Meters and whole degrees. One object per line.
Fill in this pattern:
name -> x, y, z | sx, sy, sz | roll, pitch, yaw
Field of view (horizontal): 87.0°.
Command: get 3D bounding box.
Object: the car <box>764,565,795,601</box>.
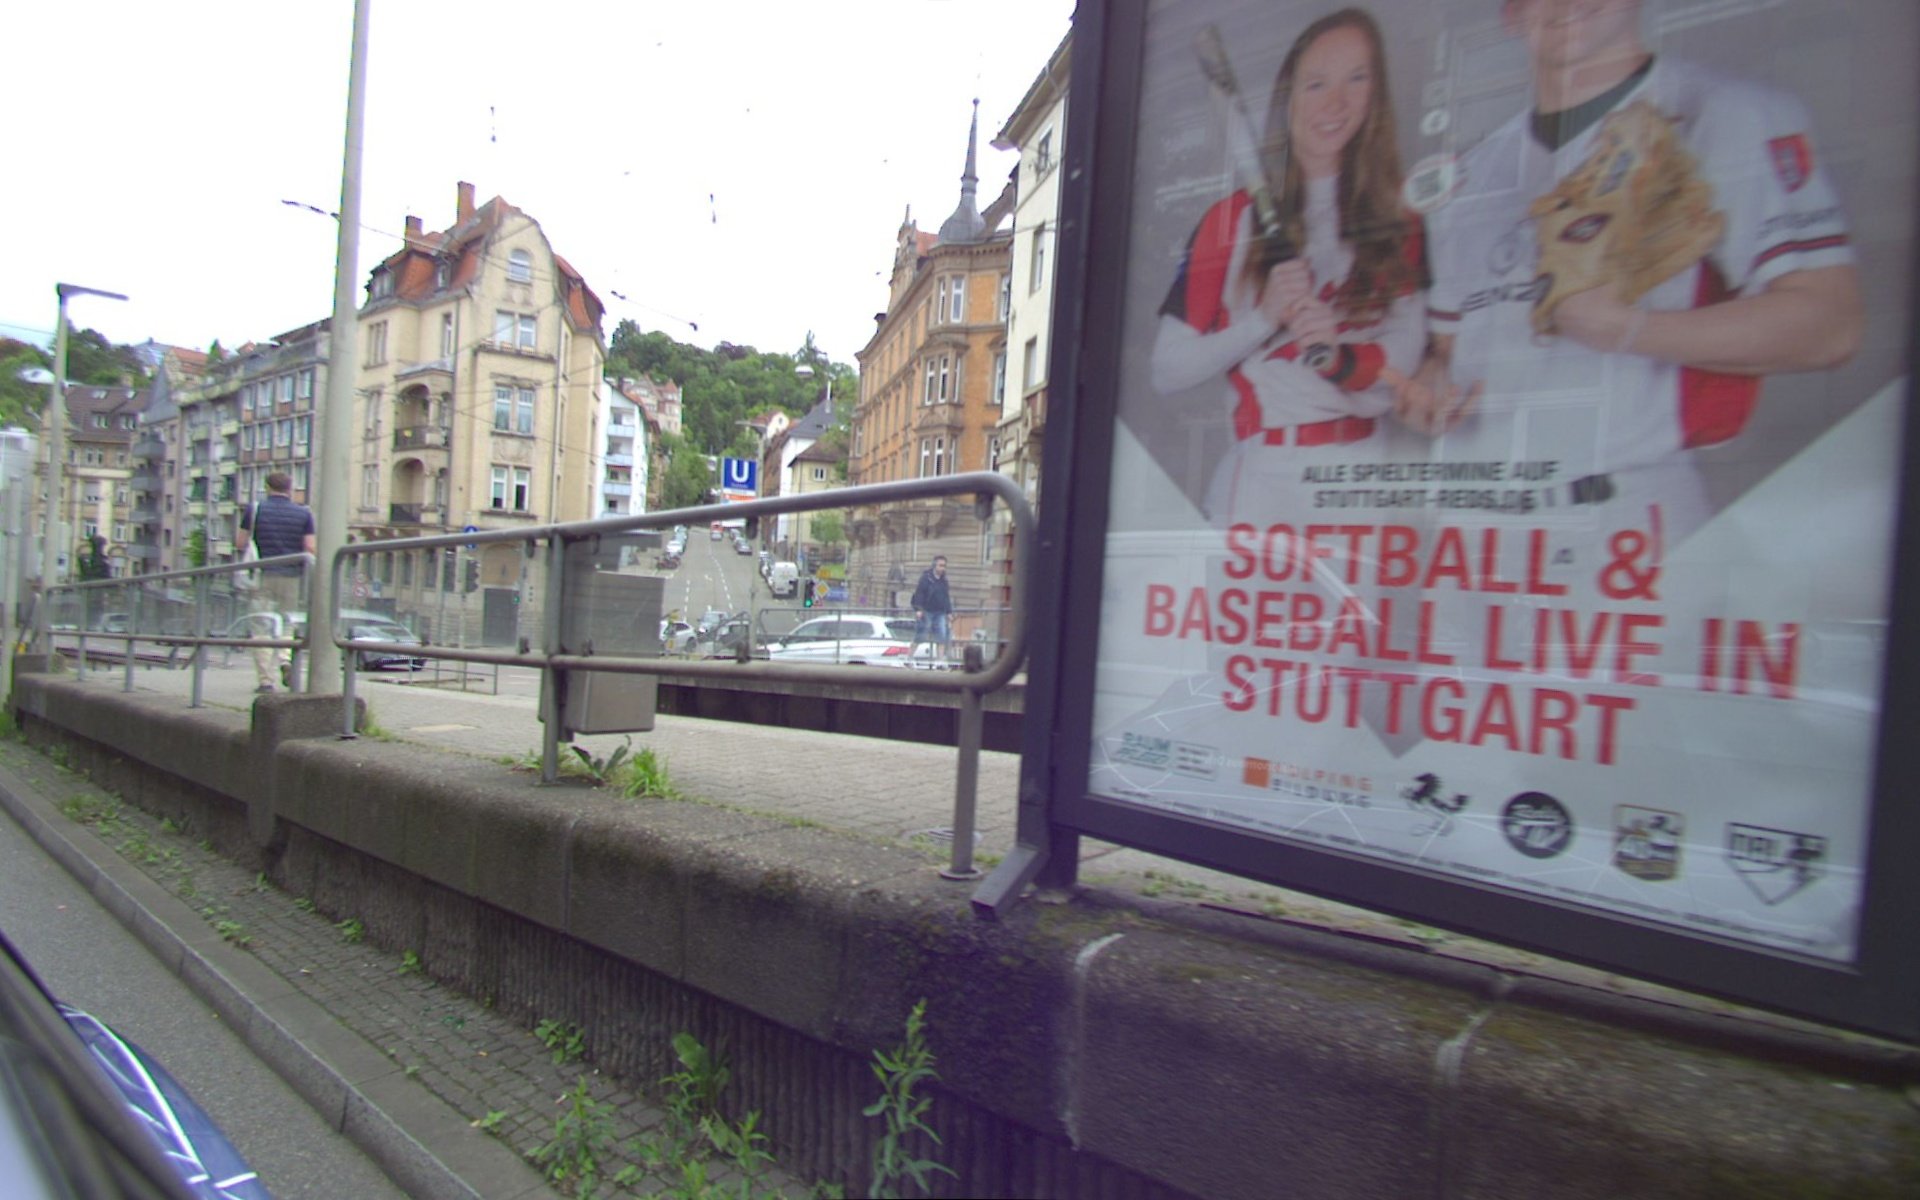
car -> -14.033, -1.333, 78.592 | 1.966, 2.495, 4.013 | 1, 5, -15

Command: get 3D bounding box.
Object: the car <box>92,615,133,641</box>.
car -> -67.808, 2.260, 80.936 | 4.048, 1.989, 1.826 | -1, -2, 41

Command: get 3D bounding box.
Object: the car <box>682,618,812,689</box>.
car -> -5.788, 1.378, 27.144 | 1.821, 1.747, 4.391 | 2, -2, -35

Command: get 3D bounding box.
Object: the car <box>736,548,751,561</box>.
car -> -27.053, -5.656, 126.265 | 1.619, 1.453, 3.320 | 1, 5, -15

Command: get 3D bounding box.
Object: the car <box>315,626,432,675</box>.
car -> -18.935, 1.582, 32.598 | 4.375, 1.457, 1.827 | -1, -2, 39

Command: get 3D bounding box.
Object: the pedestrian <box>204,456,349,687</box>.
pedestrian -> -5.474, -0.200, 8.109 | 0.766, 1.728, 0.757 | -1, -3, 41

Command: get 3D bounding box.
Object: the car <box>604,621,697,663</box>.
car -> -13.332, 1.805, 43.867 | 1.983, 1.723, 3.977 | 0, -2, 17

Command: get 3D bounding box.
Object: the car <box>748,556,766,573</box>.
car -> -20.893, -3.662, 104.157 | 1.619, 1.609, 3.320 | 1, 5, -15

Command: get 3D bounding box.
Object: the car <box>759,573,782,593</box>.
car -> -15.859, -1.453, 84.656 | 1.619, 1.442, 3.320 | 1, 5, -15

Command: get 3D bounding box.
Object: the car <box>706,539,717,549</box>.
car -> -37.854, -8.543, 154.041 | 1.619, 1.470, 3.320 | 1, 5, -15

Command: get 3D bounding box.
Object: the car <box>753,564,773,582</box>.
car -> -18.383, -2.519, 94.425 | 1.619, 1.442, 3.320 | 1, 5, -15

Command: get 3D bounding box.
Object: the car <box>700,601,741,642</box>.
car -> -12.478, 1.087, 52.658 | 1.966, 1.687, 4.013 | 1, 4, -15

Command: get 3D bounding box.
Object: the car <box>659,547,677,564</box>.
car -> -33.870, -5.193, 117.554 | 1.910, 1.650, 4.013 | 1, 5, -15

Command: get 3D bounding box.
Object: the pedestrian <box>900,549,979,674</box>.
pedestrian -> -0.292, 0.172, 14.426 | 0.842, 1.701, 0.757 | -1, -3, 41

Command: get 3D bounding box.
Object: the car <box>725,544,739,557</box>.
car -> -30.709, -6.660, 136.375 | 1.619, 1.470, 3.320 | 1, 5, -15

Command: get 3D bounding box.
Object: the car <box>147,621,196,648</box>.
car -> -53.193, 2.309, 68.249 | 4.380, 1.796, 1.826 | -1, -2, 42

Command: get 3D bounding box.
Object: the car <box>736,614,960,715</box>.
car -> -2.249, 1.173, 19.613 | 4.377, 1.747, 1.827 | -1, -2, 40

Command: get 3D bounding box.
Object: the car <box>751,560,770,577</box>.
car -> -19.518, -3.052, 98.870 | 1.619, 1.442, 3.320 | 1, 5, -15
